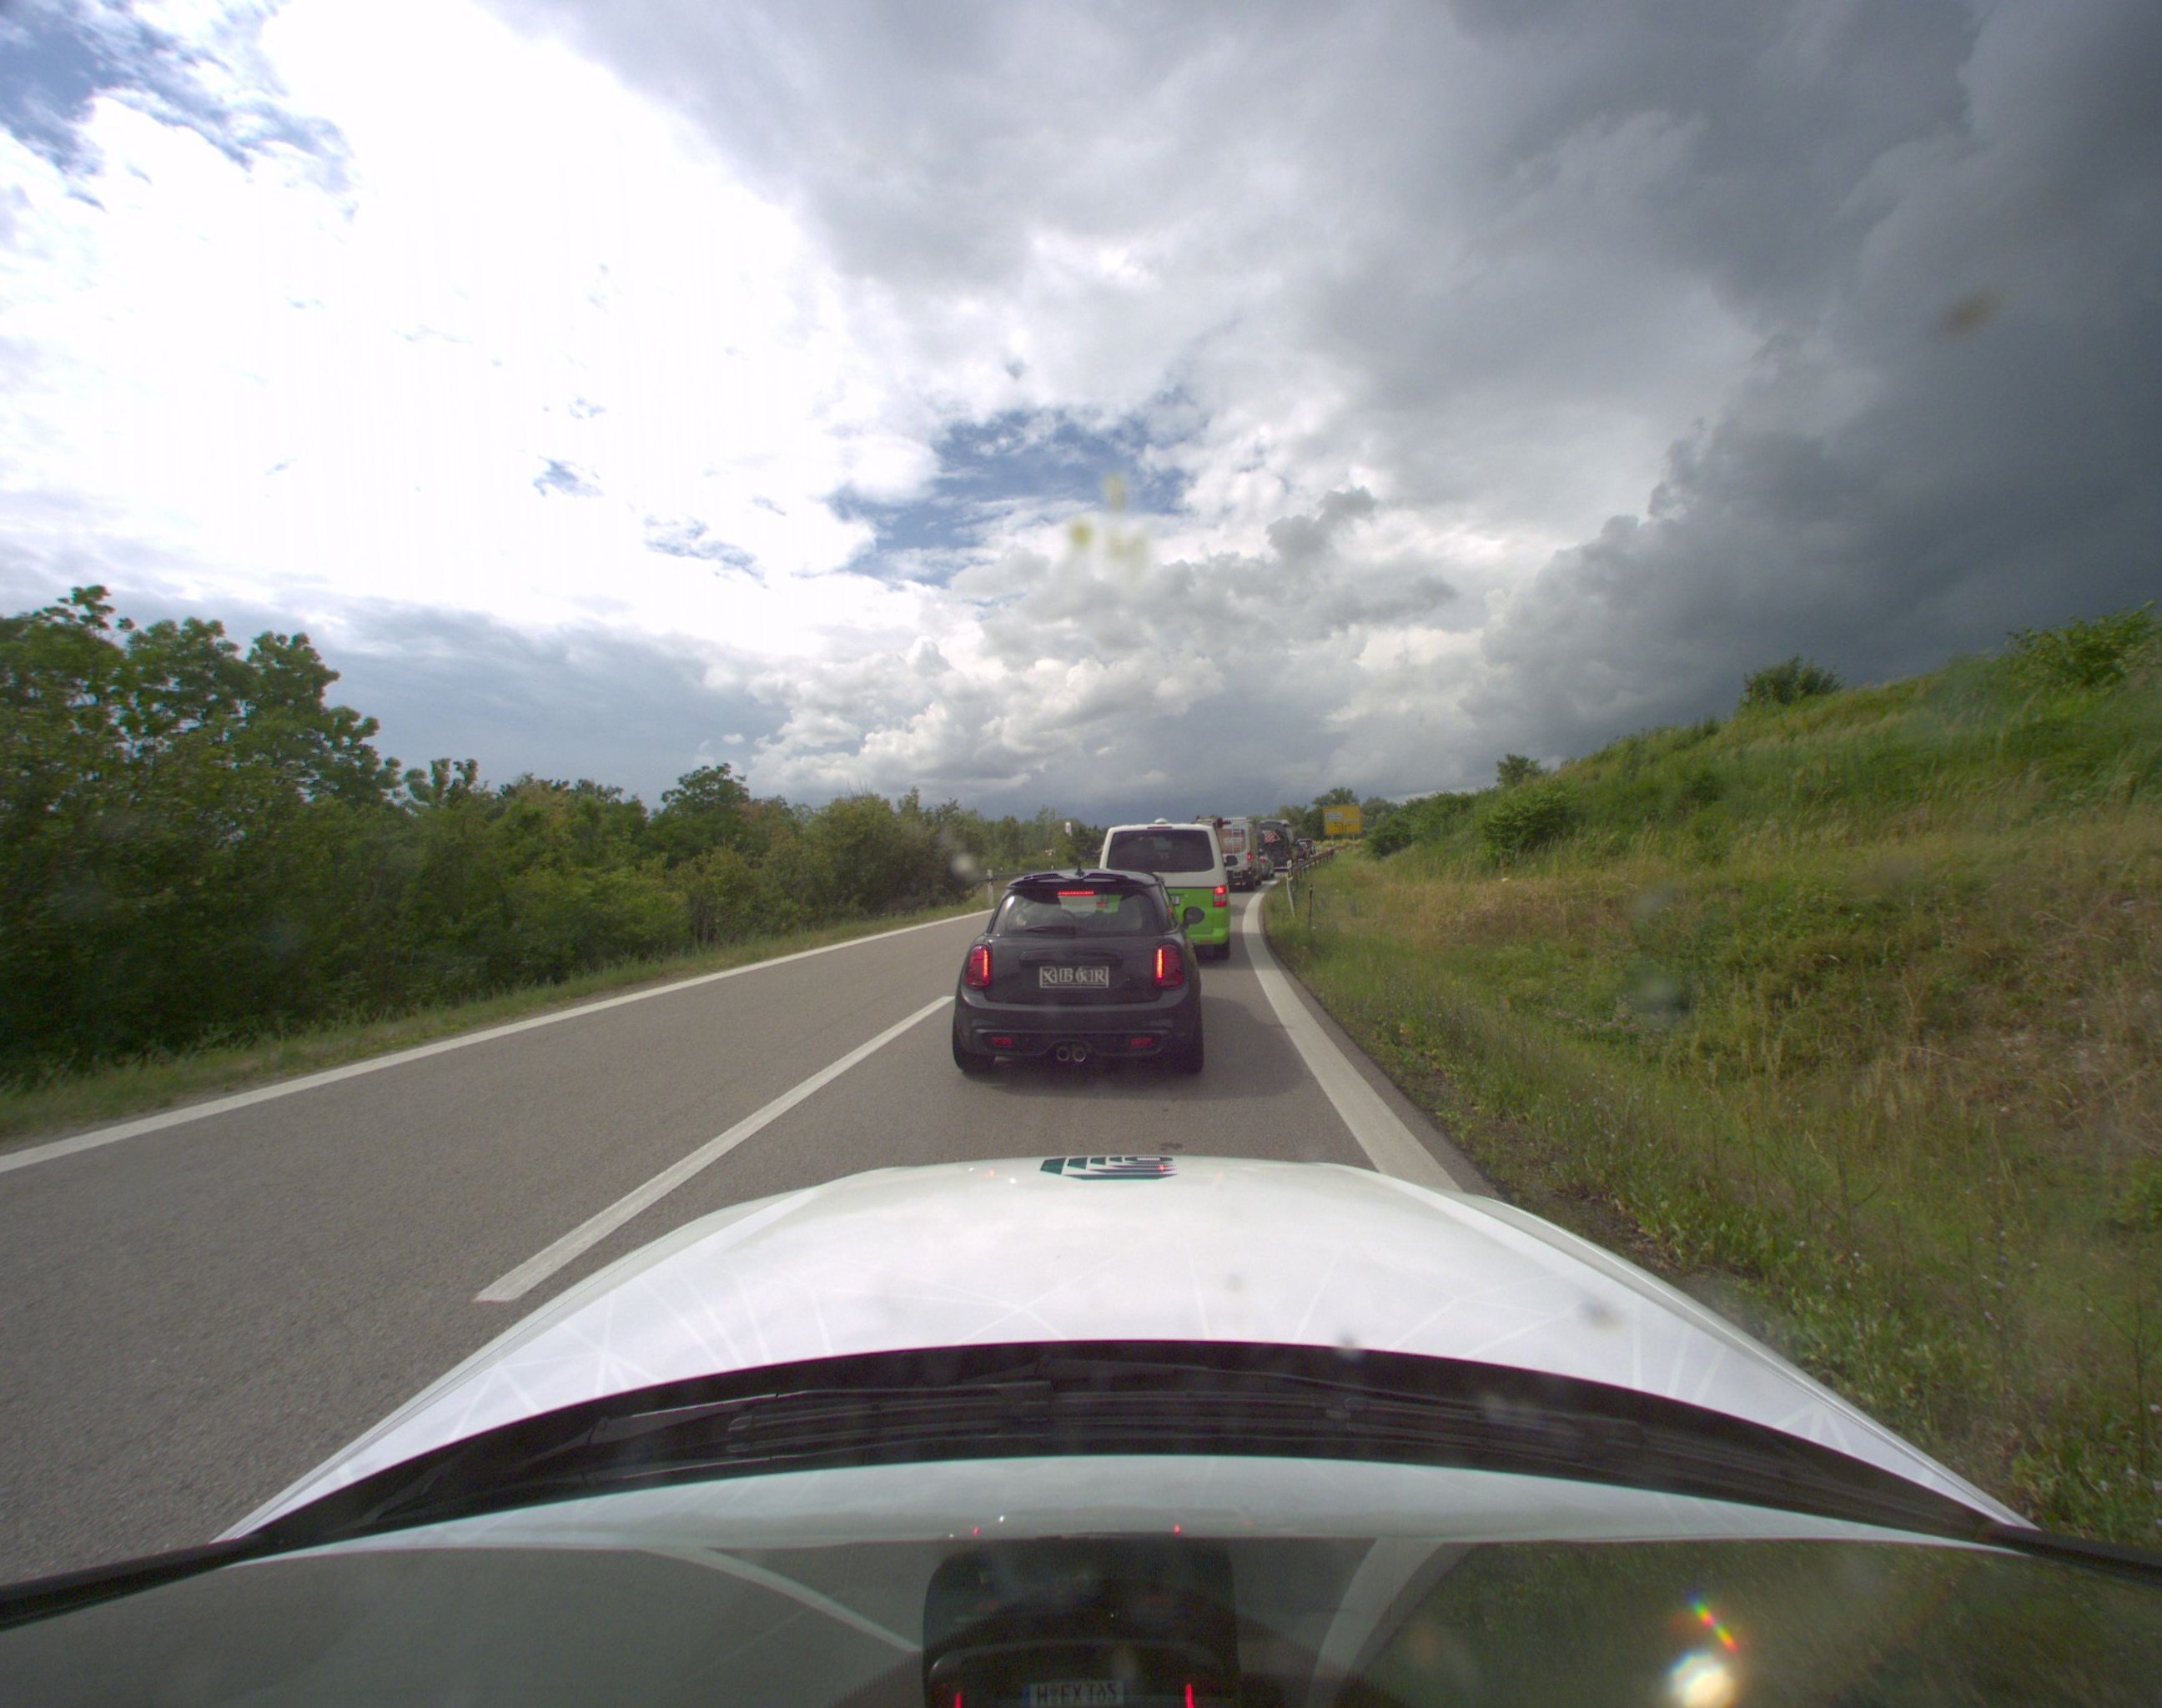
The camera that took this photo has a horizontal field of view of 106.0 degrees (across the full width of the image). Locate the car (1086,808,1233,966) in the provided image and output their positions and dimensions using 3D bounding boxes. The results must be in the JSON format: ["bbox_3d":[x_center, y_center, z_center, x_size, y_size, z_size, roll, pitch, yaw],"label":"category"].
[{"bbox_3d":[1.398,0.439,12.748,1.899,2.045,4.193,-1,0,10],"label":"car"}]

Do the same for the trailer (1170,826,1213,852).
[{"bbox_3d":[17.755,-2.404,131.861,3.048,3.898,8.709,0,-1,-21],"label":"trailer"}]

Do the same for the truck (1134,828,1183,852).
[{"bbox_3d":[13.296,-2.320,140.100,2.856,3.976,9.925,0,-1,-33],"label":"truck"}]

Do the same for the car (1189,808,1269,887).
[{"bbox_3d":[5.601,-0.199,30.178,2.194,2.622,5.559,-1,-1,18],"label":"car"}]

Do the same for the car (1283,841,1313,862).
[{"bbox_3d":[17.213,-0.210,64.447,1.877,1.588,4.518,-1,-1,20],"label":"car"}]

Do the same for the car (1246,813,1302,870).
[{"bbox_3d":[11.261,-0.639,47.210,2.291,3.069,6.696,-1,-1,21],"label":"car"}]

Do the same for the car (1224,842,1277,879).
[{"bbox_3d":[7.852,0.300,37.574,1.978,1.642,3.946,-1,-1,17],"label":"car"}]

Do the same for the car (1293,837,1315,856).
[{"bbox_3d":[23.316,-0.749,85.230,2.080,1.883,4.511,-1,-1,13],"label":"car"}]

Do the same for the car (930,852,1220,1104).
[{"bbox_3d":[0.146,0.770,6.951,1.790,1.546,3.745,-1,0,6],"label":"car"}]
